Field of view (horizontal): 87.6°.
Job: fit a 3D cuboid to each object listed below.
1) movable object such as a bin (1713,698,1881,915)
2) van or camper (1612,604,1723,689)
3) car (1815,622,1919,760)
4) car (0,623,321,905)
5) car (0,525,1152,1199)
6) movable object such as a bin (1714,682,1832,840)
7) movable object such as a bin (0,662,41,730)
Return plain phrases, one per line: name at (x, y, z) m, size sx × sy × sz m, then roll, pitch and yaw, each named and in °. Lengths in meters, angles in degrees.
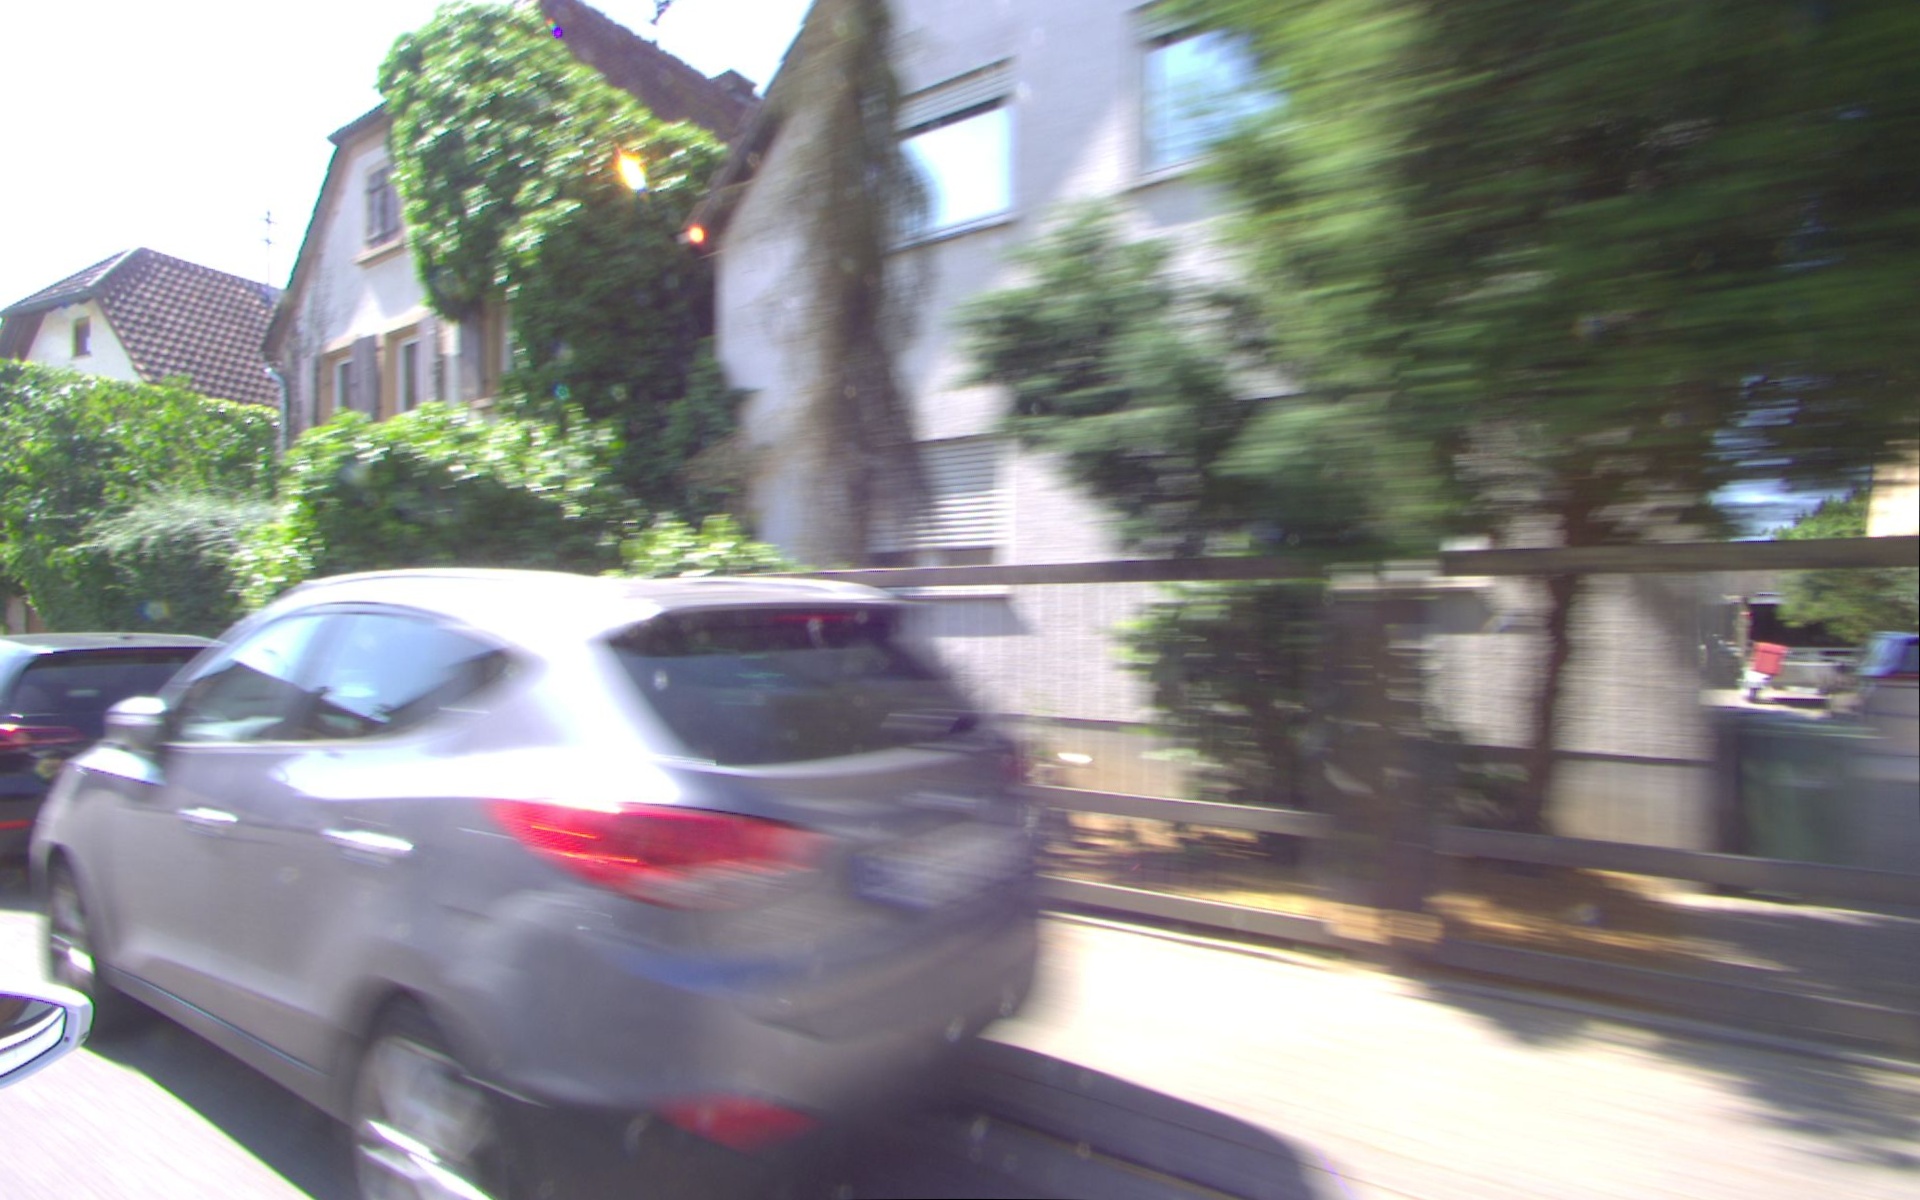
movable object such as a bin at (4.456, 1.055, 5.384) m, size 0.561 × 0.962 × 0.880 m, roll 0°, pitch 0°, yaw 31°
van or camper at (19.097, 1.233, 27.192) m, size 1.969 × 2.106 × 3.985 m, roll 0°, pitch -2°, yaw 28°
car at (11.316, 1.052, 11.641) m, size 1.534 × 1.424 × 3.621 m, roll 0°, pitch -4°, yaw 32°
car at (-6.342, 0.912, 7.068) m, size 4.010 × 1.483 × 1.707 m, roll -1°, pitch -1°, yaw 35°
car at (-1.684, 0.736, 3.535) m, size 4.302 × 1.652 × 1.789 m, roll 0°, pitch -1°, yaw 35°
movable object such as a bin at (5.524, 1.069, 6.833) m, size 0.558 × 0.977 × 0.513 m, roll 0°, pitch -1°, yaw 32°
movable object such as a bin at (-13.401, 1.351, 14.230) m, size 0.432 × 0.925 × 0.411 m, roll 0°, pitch 0°, yaw 33°
